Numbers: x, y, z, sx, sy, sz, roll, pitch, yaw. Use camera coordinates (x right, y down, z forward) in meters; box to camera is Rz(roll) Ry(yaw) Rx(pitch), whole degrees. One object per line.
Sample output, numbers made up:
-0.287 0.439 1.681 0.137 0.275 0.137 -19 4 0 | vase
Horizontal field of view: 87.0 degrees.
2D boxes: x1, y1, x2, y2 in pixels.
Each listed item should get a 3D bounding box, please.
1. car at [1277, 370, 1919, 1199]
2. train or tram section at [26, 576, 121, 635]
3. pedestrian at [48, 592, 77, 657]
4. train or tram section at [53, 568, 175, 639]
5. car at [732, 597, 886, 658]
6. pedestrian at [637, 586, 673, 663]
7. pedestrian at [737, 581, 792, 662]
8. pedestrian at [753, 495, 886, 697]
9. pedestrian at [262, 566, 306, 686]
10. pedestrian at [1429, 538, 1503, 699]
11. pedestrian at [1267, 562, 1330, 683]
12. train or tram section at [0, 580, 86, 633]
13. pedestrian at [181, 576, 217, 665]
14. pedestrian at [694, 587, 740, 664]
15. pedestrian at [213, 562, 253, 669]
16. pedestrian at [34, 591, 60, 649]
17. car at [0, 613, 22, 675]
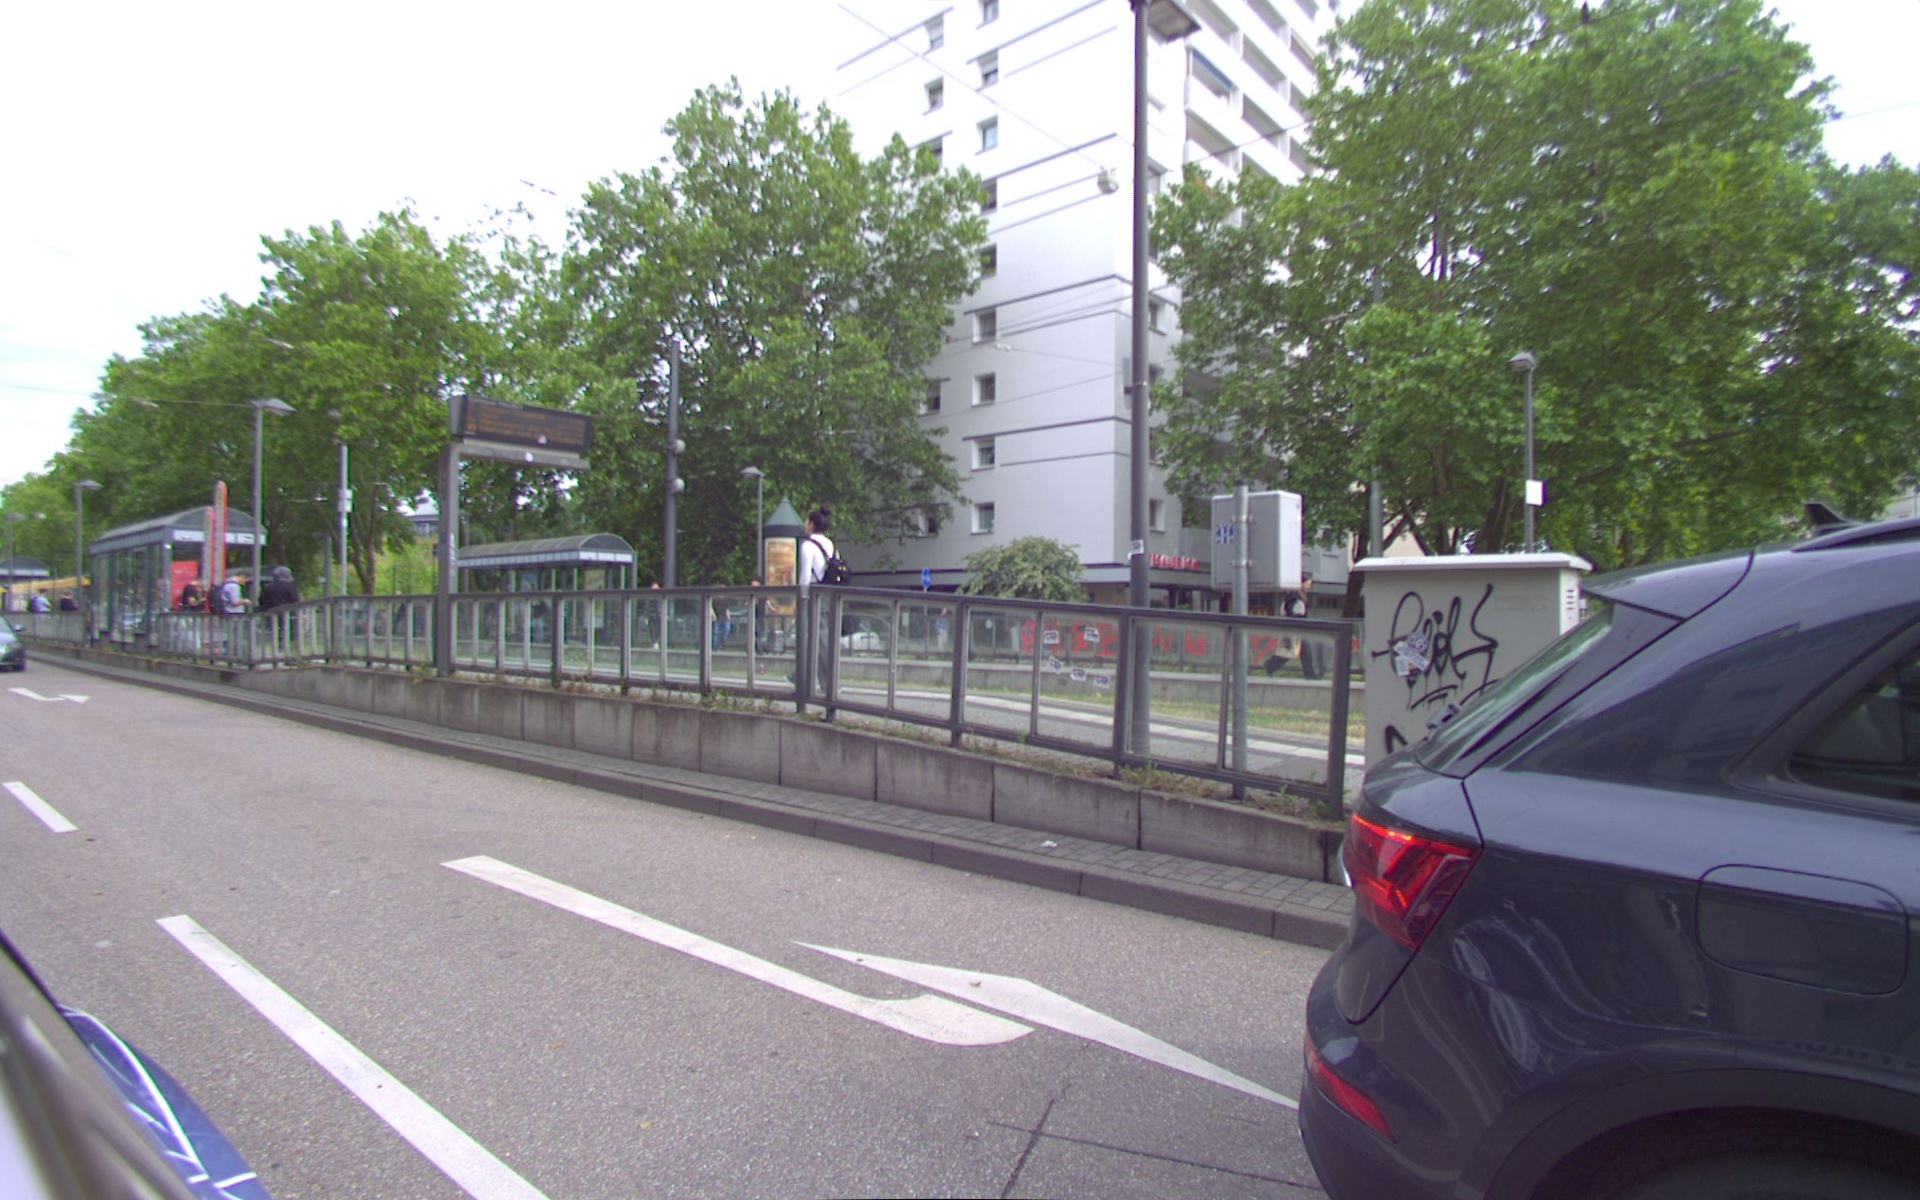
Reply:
2.693 0.531 0.981 4.225 1.649 1.715 -1 0 41 | car
-60.977 0.399 69.449 12.543 3.781 3.295 -1 0 41 | train or tram section
-25.564 0.693 28.833 0.523 1.818 0.607 -1 0 -35 | pedestrian
-50.659 0.266 60.312 15.196 3.781 3.295 -1 0 41 | train or tram section
-4.179 0.721 27.875 3.991 1.564 1.912 -1 0 35 | car
-7.832 0.614 25.981 0.553 1.945 0.690 -1 0 41 | pedestrian
-4.390 0.469 22.765 0.850 1.769 0.871 -1 0 41 | pedestrian
-1.258 -0.034 9.034 0.979 1.683 0.711 -1 0 44 | pedestrian
-10.525 0.389 15.751 0.513 1.818 0.606 -1 0 -37 | pedestrian
6.429 0.224 12.852 0.666 1.965 0.728 -1 0 41 | pedestrian
5.142 0.330 15.351 0.666 1.763 0.728 -1 0 41 | pedestrian
-71.809 0.537 78.975 16.241 3.781 3.295 -1 0 41 | train or tram section
-15.920 0.419 21.171 0.467 1.818 0.607 -1 0 -24 | pedestrian
-5.966 0.604 24.850 0.666 1.848 0.871 -1 0 41 | pedestrian
-12.701 0.267 17.679 0.605 1.818 0.469 -1 0 45 | pedestrian
-29.033 0.623 32.195 0.523 1.818 0.607 -1 0 -35 | pedestrian
-23.630 1.033 23.941 4.097 1.398 1.694 -1 0 41 | car
